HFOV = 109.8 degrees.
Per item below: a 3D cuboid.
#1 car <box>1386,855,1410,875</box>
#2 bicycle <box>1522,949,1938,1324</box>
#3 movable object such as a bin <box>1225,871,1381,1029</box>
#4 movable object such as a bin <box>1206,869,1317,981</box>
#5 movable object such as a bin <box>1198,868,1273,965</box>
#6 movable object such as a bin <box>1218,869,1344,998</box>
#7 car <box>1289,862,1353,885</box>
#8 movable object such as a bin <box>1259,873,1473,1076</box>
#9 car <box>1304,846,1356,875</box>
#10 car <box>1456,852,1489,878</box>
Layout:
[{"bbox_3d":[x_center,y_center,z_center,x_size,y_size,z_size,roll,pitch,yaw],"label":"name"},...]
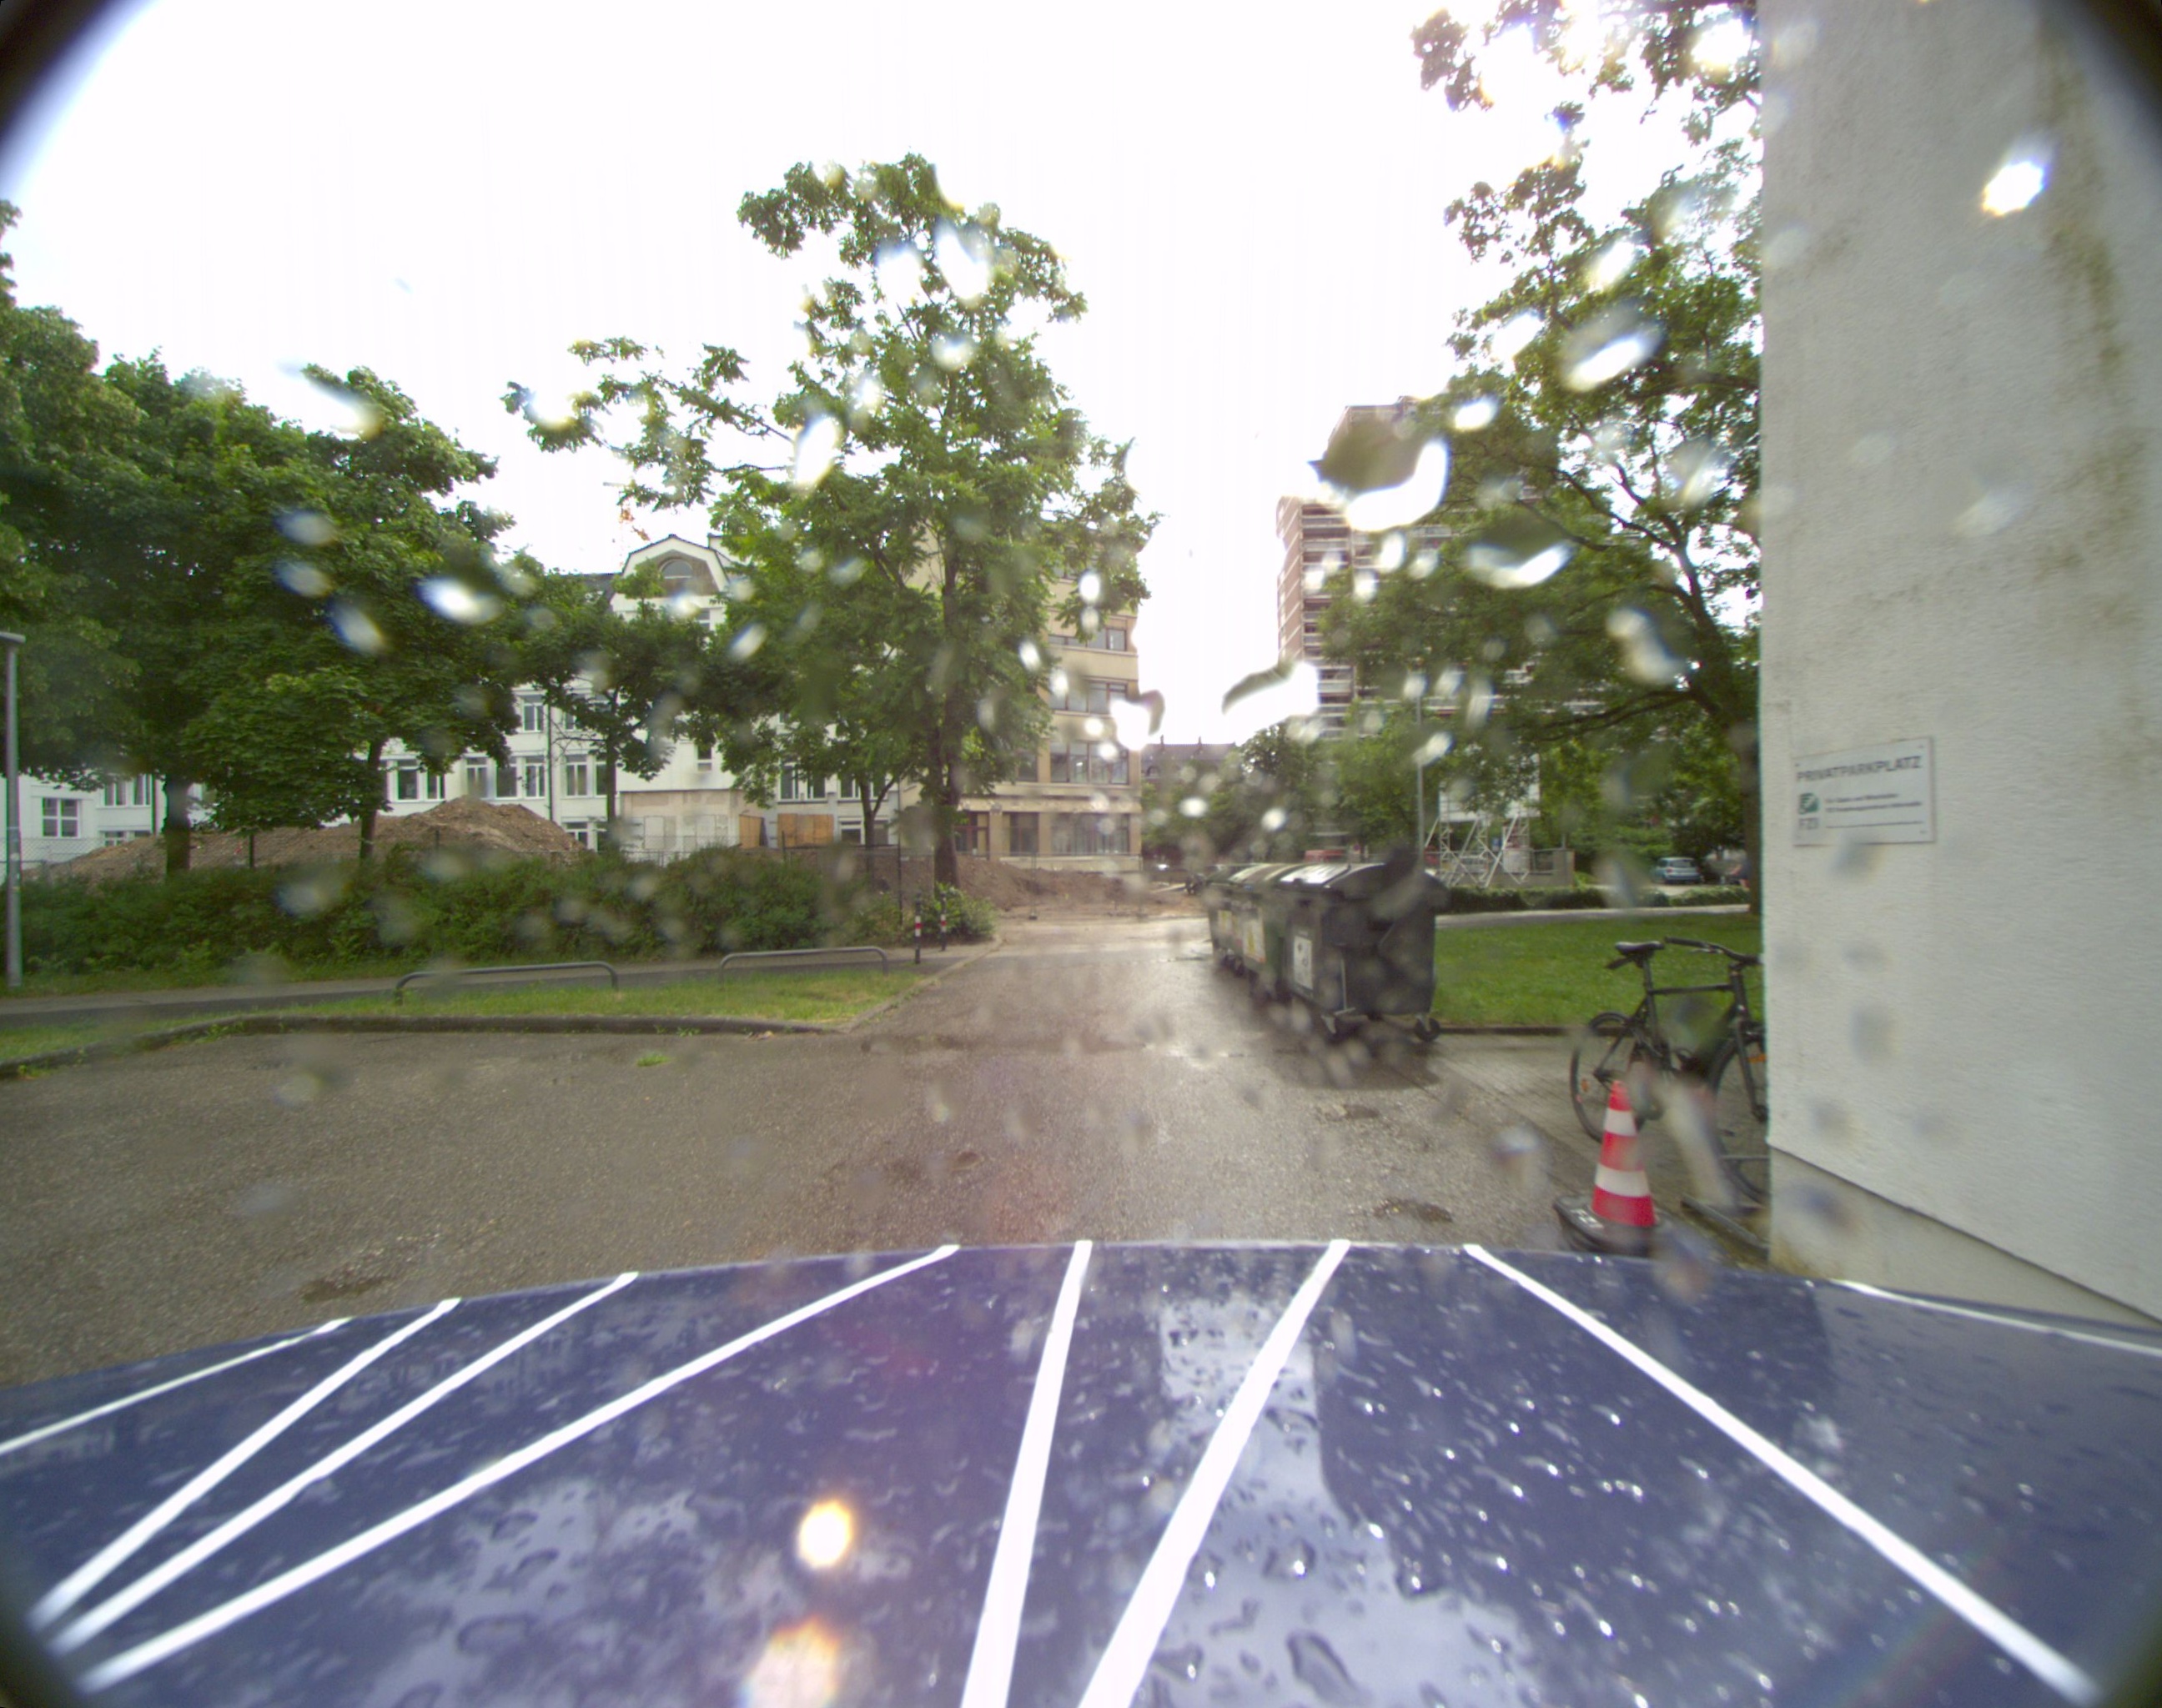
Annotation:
[{"bbox_3d":[27.155,0.918,65.191,1.781,1.556,4.052,-1,1,20],"label":"car"},{"bbox_3d":[2.709,1.083,3.422,0.616,1.109,1.520,0,1,3],"label":"bicycle"},{"bbox_3d":[2.274,0.940,8.049,1.167,1.474,1.496,1,0,-2],"label":"movable object such as a bin"},{"bbox_3d":[2.544,0.978,10.941,1.167,1.474,1.403,-1,-2,-3],"label":"movable object such as a bin"},{"bbox_3d":[2.562,0.991,12.490,1.103,1.464,1.487,-2,0,13],"label":"movable object such as a bin"},{"bbox_3d":[2.448,0.933,9.521,1.167,1.474,1.403,-1,-1,-1],"label":"movable object such as a bin"},{"bbox_3d":[16.008,1.342,50.850,1.893,1.461,3.993,1,-2,-23],"label":"car"},{"bbox_3d":[2.324,0.924,6.489,1.167,1.474,1.594,1,0,-2],"label":"movable object such as a bin"},{"bbox_3d":[23.345,0.600,71.363,2.303,2.618,5.478,0,0,-10],"label":"car"},{"bbox_3d":[29.903,0.796,58.145,1.933,1.885,4.653,0,0,23],"label":"car"}]
